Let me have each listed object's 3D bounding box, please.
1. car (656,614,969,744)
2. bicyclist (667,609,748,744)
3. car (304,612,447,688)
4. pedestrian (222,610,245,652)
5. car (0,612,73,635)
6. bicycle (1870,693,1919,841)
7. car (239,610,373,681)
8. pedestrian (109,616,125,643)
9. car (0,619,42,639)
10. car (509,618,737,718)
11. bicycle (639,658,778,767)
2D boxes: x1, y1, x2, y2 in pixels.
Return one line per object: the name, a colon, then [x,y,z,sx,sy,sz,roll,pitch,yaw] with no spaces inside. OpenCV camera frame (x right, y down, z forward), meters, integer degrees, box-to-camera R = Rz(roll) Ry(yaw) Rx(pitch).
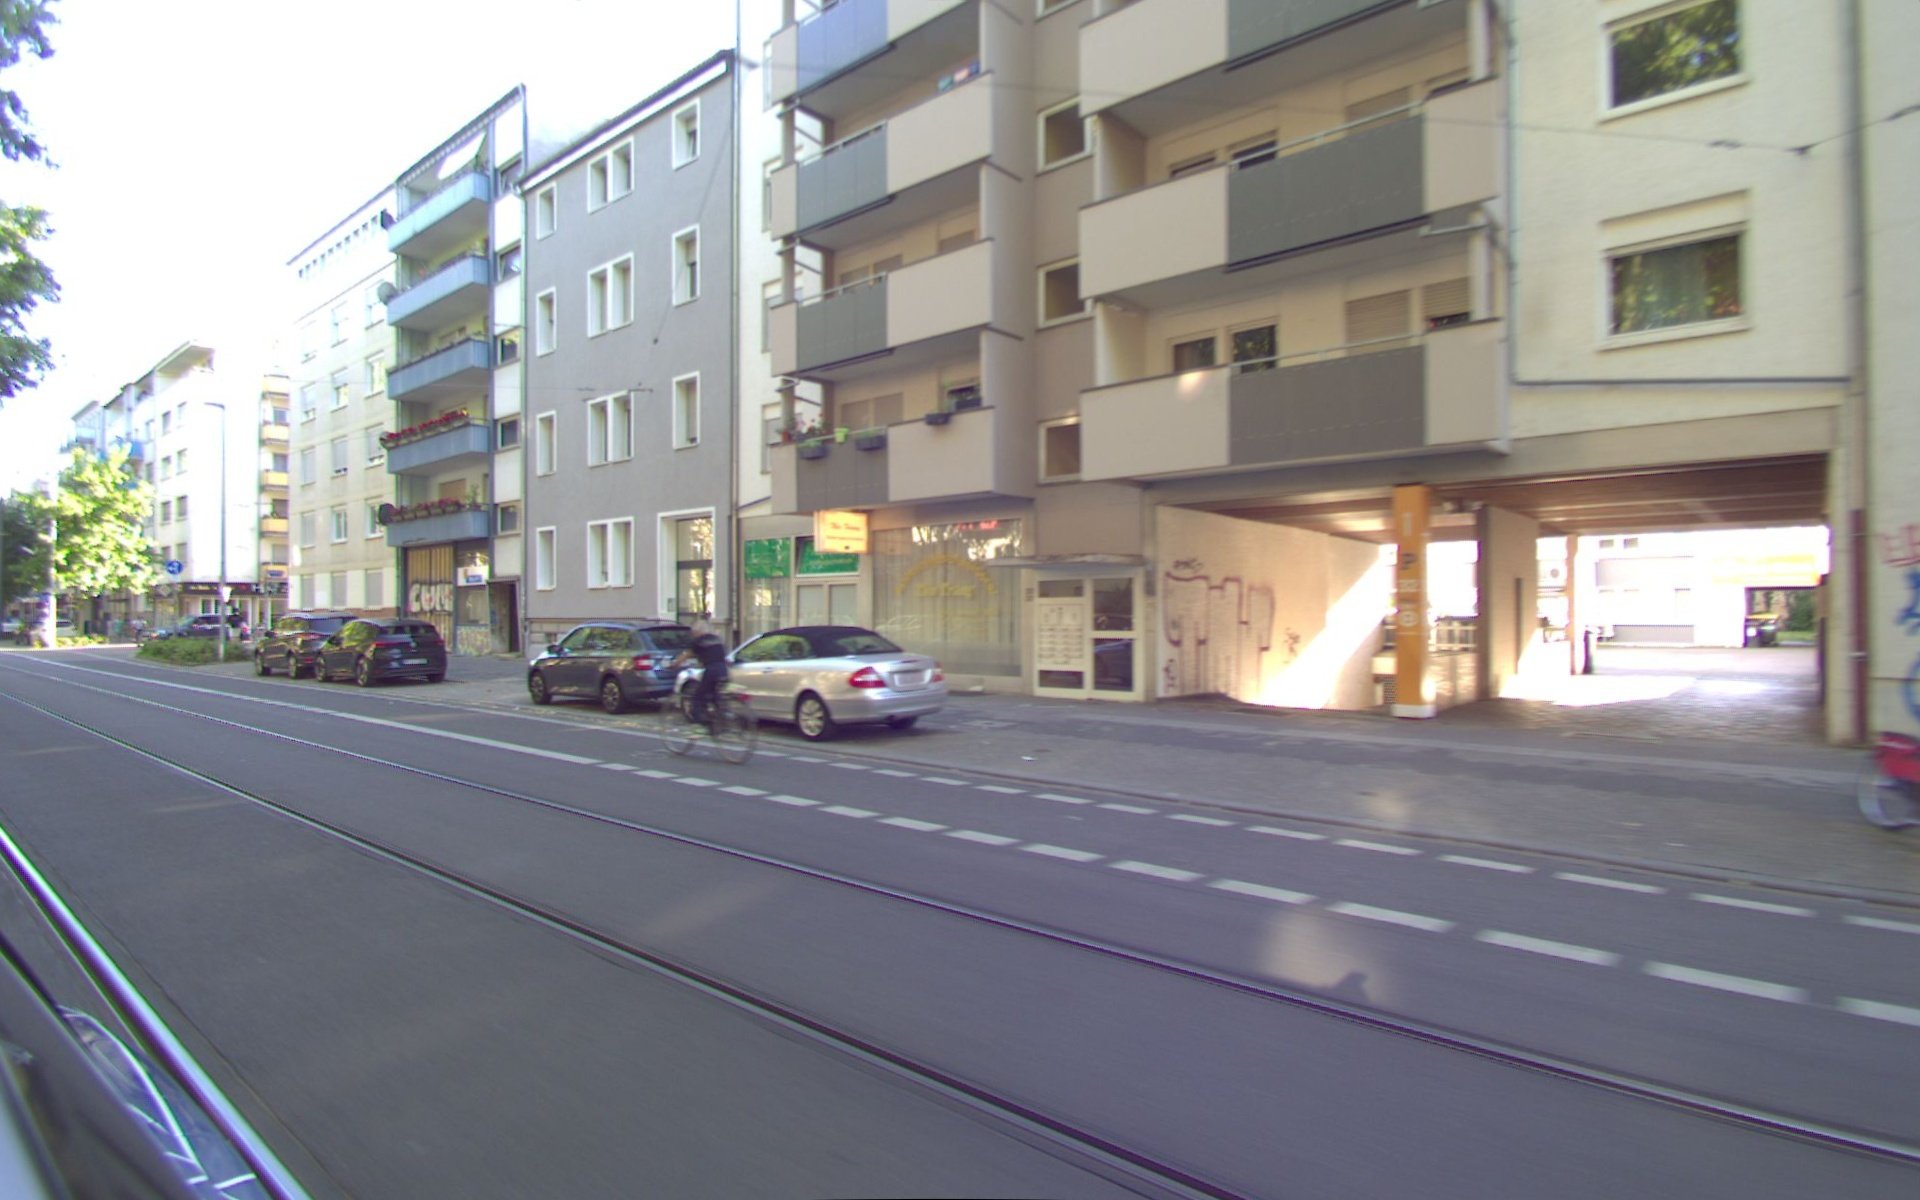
car: [-2.192,0.958,13.999,4.727,1.502,1.671,-1,-1,42]
bicyclist: [-2.729,0.809,10.937,0.709,1.405,0.503,-1,-3,41]
car: [-14.097,1.141,24.325,4.199,1.612,1.639,-1,1,40]
pedestrian: [-33.639,1.422,46.838,0.762,1.913,0.800,-1,0,-41]
car: [-64.637,1.647,70.731,1.587,1.535,3.899,-1,-1,45]
bicycle: [6.676,1.167,6.764,0.400,0.924,1.610,-1,0,24]
car: [-17.886,1.190,27.621,4.485,1.751,1.762,-1,1,39]
pedestrian: [-49.710,1.730,59.663,0.655,1.516,0.588,-1,0,41]
car: [-75.183,2.294,79.917,1.587,1.535,3.899,-1,-1,45]
car: [-5.854,1.063,17.349,4.237,1.502,1.775,-1,-1,40]
bicycle: [-2.745,1.170,10.922,1.946,1.025,0.412,-1,-3,42]
